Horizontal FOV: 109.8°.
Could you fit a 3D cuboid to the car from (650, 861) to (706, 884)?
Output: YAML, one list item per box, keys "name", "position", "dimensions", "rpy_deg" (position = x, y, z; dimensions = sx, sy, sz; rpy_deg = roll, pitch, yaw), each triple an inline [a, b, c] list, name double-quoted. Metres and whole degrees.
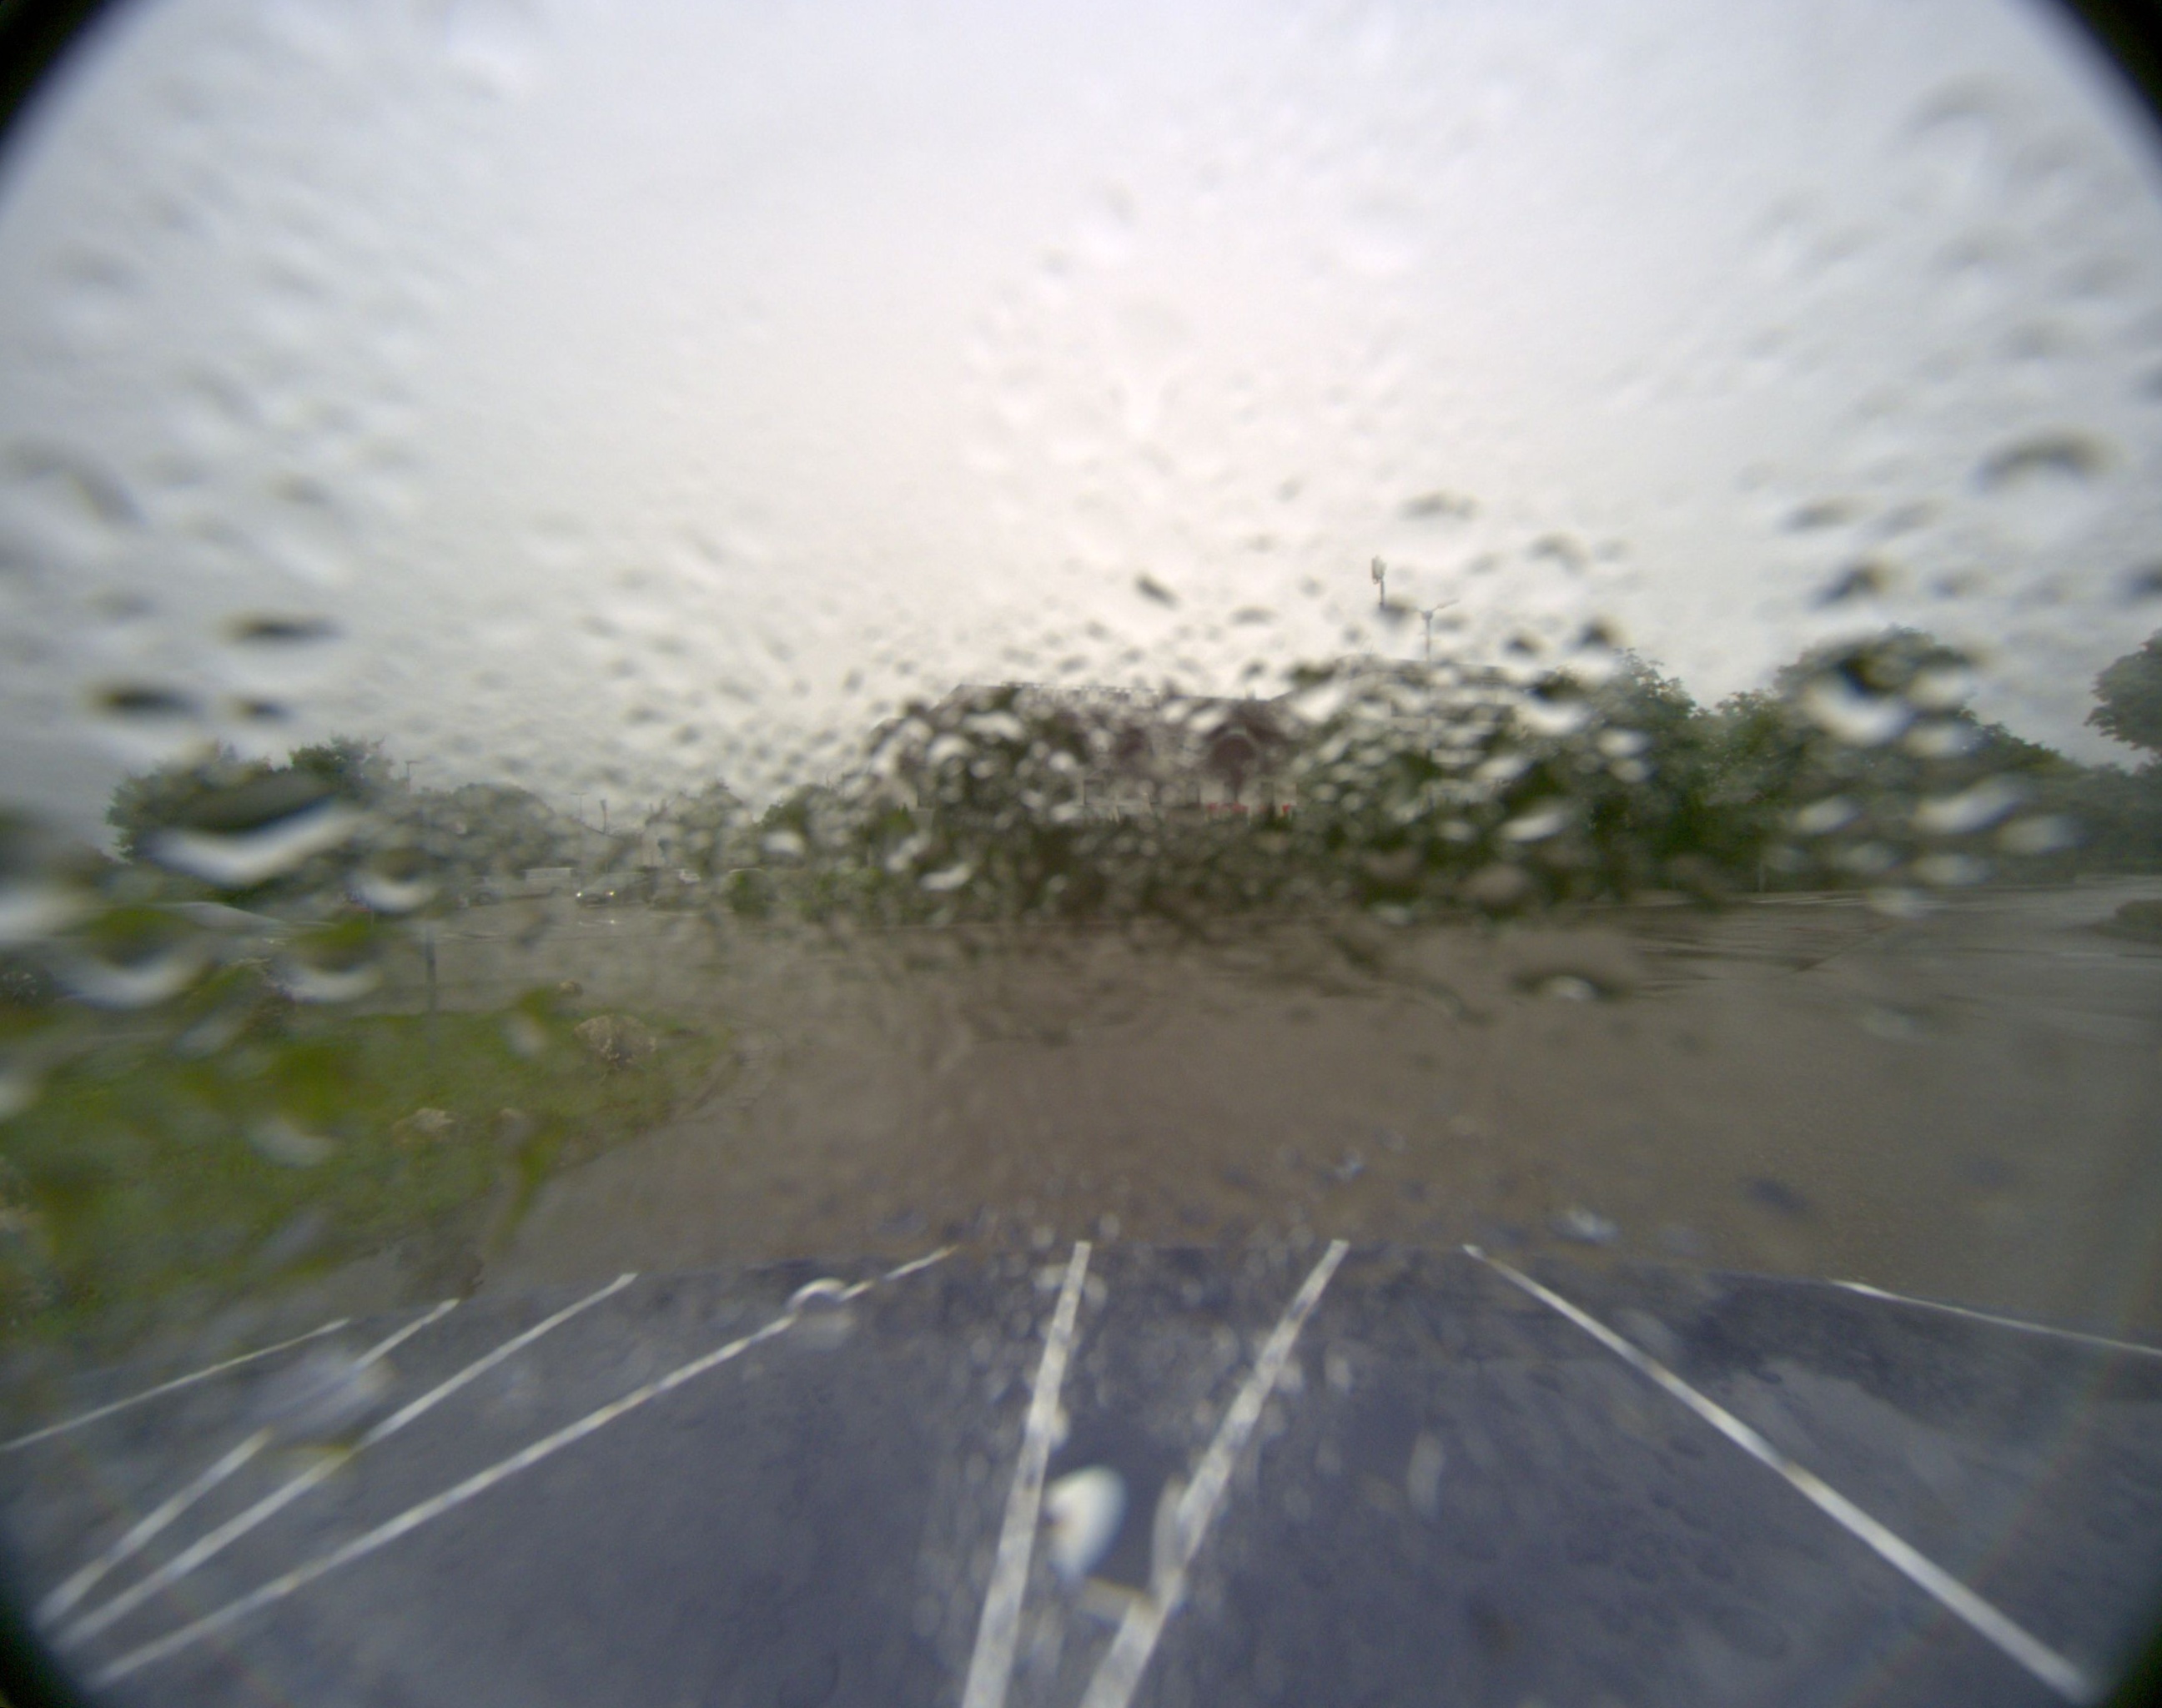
- name: "car"
  position: [-34.391, 1.550, 64.902]
  dimensions: [3.991, 1.718, 1.993]
  rpy_deg: [-3, 1, 21]

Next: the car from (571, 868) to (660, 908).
- name: "car"
  position: [-20.782, 1.485, 34.154]
  dimensions: [1.706, 1.417, 4.356]
  rpy_deg: [-3, 2, -8]

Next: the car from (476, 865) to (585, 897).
- name: "car"
  position: [-36.254, 1.779, 50.247]
  dimensions: [5.381, 1.712, 1.997]
  rpy_deg: [-3, 1, -18]

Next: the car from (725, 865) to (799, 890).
- name: "car"
  position: [-21.151, 1.511, 50.546]
  dimensions: [4.364, 1.416, 1.847]
  rpy_deg: [-2, 1, -19]

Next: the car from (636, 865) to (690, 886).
- name: "car"
  position: [-34.529, 1.756, 62.765]
  dimensions: [3.880, 1.561, 1.752]
  rpy_deg: [-3, 1, 22]

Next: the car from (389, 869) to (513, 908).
- name: "car"
  position: [-33.589, 1.825, 40.693]
  dimensions: [4.612, 1.712, 1.997]
  rpy_deg: [-3, 1, -18]

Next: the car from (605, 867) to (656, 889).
- name: "car"
  position: [-36.038, 1.943, 60.792]
  dimensions: [3.717, 1.540, 1.669]
  rpy_deg: [-3, 1, 27]

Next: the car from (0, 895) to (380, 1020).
- name: "car"
  position: [-15.364, 1.677, 12.959]
  dimensions: [4.502, 1.565, 1.997]
  rpy_deg: [-3, 2, -16]

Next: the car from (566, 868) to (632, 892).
- name: "car"
  position: [-36.804, 1.995, 58.028]
  dimensions: [4.637, 1.541, 2.003]
  rpy_deg: [-3, 1, 25]
